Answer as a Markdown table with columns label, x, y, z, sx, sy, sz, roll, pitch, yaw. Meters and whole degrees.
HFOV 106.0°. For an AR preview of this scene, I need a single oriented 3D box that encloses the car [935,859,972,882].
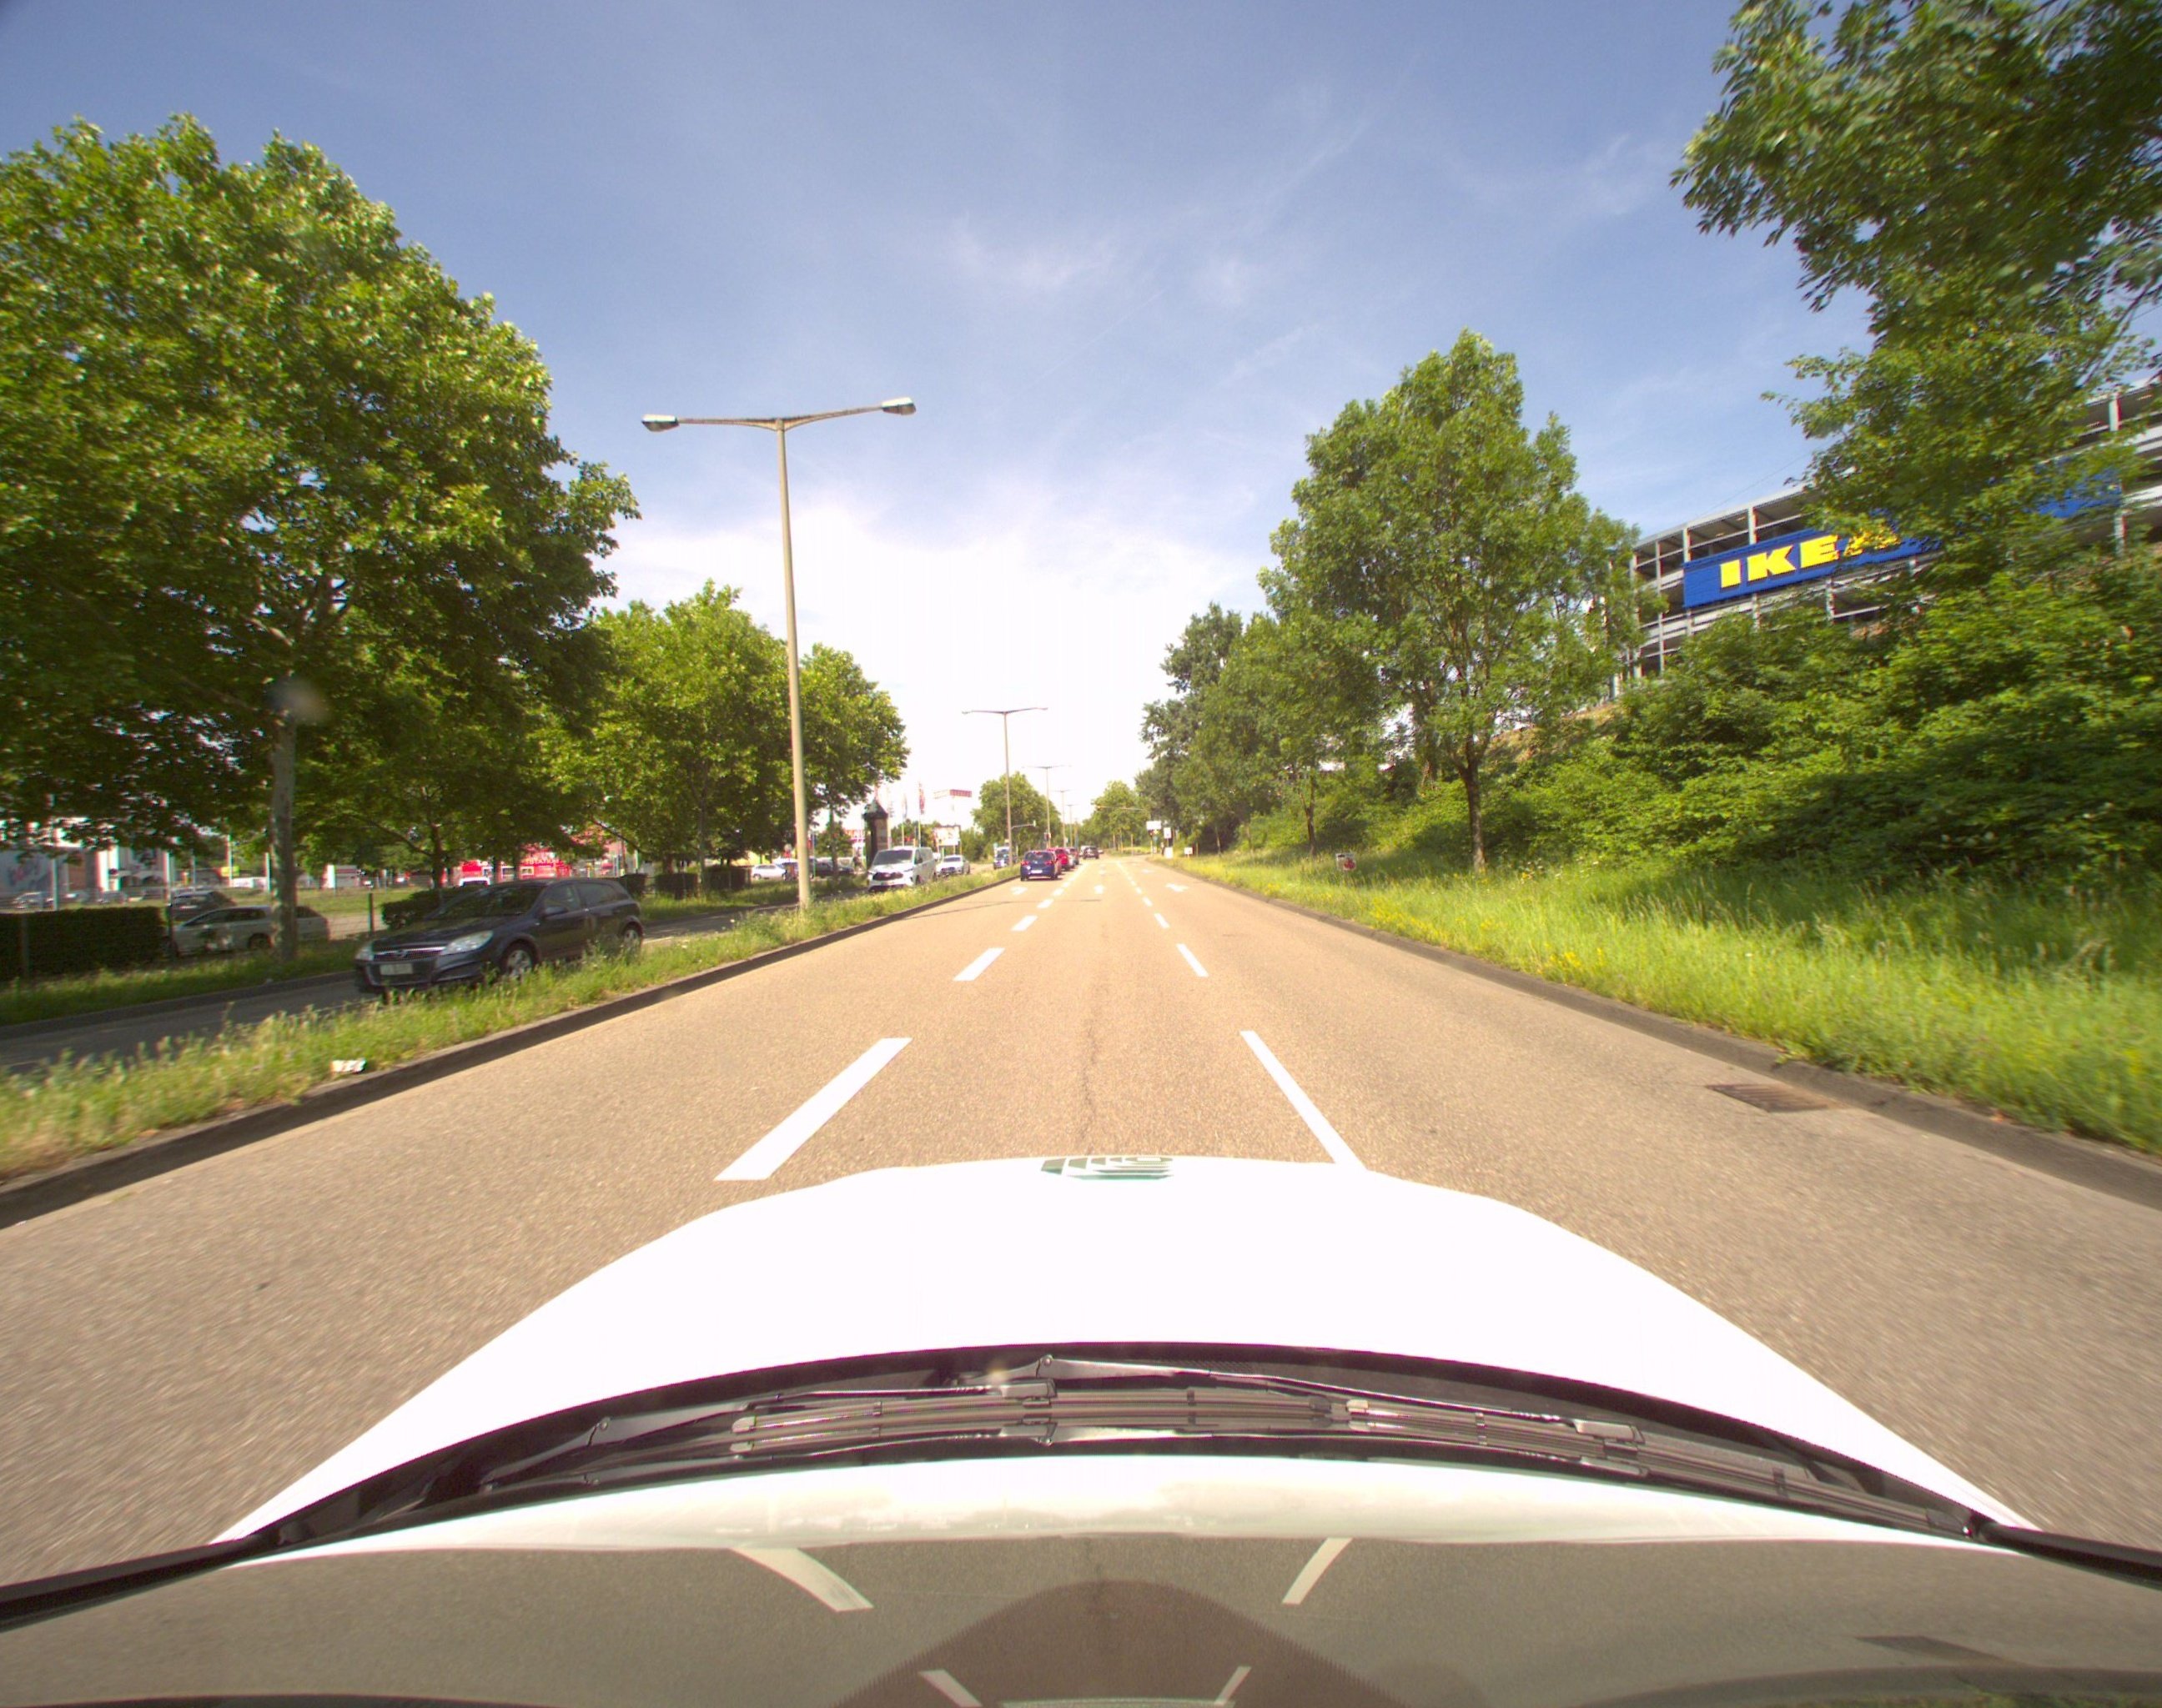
| label | x | y | z | sx | sy | sz | roll | pitch | yaw |
| --- | --- | --- | --- | --- | --- | --- | --- | --- | --- |
| car | -9.064 | 1.145 | 58.181 | 1.780 | 1.398 | 4.360 | -4 | 0 | 2 |

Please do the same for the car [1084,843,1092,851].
| label | x | y | z | sx | sy | sz | roll | pitch | yaw |
| --- | --- | --- | --- | --- | --- | --- | --- | --- | --- |
| car | 1.868 | -1.850 | 216.593 | 1.871 | 1.775 | 3.994 | -3 | 0 | -4 |

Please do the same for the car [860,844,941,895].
| label | x | y | z | sx | sy | sz | roll | pitch | yaw |
| --- | --- | --- | --- | --- | --- | --- | --- | --- | --- |
| car | -7.626 | 0.609 | 34.943 | 2.110 | 1.883 | 5.419 | -3 | 0 | 0 |

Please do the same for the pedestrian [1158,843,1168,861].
| label | x | y | z | sx | sy | sz | roll | pitch | yaw |
| --- | --- | --- | --- | --- | --- | --- | --- | --- | --- |
| pedestrian | 8.914 | -0.239 | 88.570 | 0.835 | 1.932 | 0.771 | -2 | 2 | -2 |

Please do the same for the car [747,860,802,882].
| label | x | y | z | sx | sy | sz | roll | pitch | yaw |
| --- | --- | --- | --- | --- | --- | --- | --- | --- | --- |
| car | -26.415 | 1.478 | 70.266 | 4.121 | 1.603 | 1.729 | -3 | 0 | 13 |

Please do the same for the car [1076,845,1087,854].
| label | x | y | z | sx | sy | sz | roll | pitch | yaw |
| --- | --- | --- | --- | --- | --- | --- | --- | --- | --- |
| car | 0.108 | -0.901 | 156.609 | 1.986 | 1.708 | 4.265 | -3 | 0 | 2 |

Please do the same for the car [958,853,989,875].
| label | x | y | z | sx | sy | sz | roll | pitch | yaw |
| --- | --- | --- | --- | --- | --- | --- | --- | --- | --- |
| car | -9.224 | 0.819 | 70.070 | 1.970 | 1.693 | 4.000 | -3 | 0 | 0 |

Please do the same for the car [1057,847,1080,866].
| label | x | y | z | sx | sy | sz | roll | pitch | yaw |
| --- | --- | --- | --- | --- | --- | --- | --- | --- | --- |
| car | -1.118 | 0.191 | 75.192 | 1.875 | 1.618 | 4.213 | -2 | 0 | 1 |

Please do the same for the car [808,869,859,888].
| label | x | y | z | sx | sy | sz | roll | pitch | yaw |
| --- | --- | --- | --- | --- | --- | --- | --- | --- | --- |
| car | -20.814 | 2.069 | 68.532 | 3.949 | 1.388 | 1.776 | -2 | 1 | 28 |

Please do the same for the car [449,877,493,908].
| label | x | y | z | sx | sy | sz | roll | pitch | yaw |
| --- | --- | --- | --- | --- | --- | --- | --- | --- | --- |
| car | -37.349 | 2.314 | 49.853 | 2.010 | 1.665 | 4.789 | -3 | 0 | -38 |

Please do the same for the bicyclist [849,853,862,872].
| label | x | y | z | sx | sy | sz | roll | pitch | yaw |
| --- | --- | --- | --- | --- | --- | --- | --- | --- | --- |
| bicyclist | -21.530 | 0.807 | 77.873 | 0.904 | 1.715 | 0.774 | -4 | 3 | -35 |

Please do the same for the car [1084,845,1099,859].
| label | x | y | z | sx | sy | sz | roll | pitch | yaw |
| --- | --- | --- | --- | --- | --- | --- | --- | --- | --- |
| car | 1.312 | -0.313 | 101.408 | 1.730 | 1.535 | 4.003 | -2 | 3 | 2 |

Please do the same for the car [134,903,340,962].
| label | x | y | z | sx | sy | sz | roll | pitch | yaw |
| --- | --- | --- | --- | --- | --- | --- | --- | --- | --- |
| car | -24.769 | 2.269 | 24.015 | 3.979 | 1.414 | 1.802 | -2 | -1 | -4 |

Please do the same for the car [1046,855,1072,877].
| label | x | y | z | sx | sy | sz | roll | pitch | yaw |
| --- | --- | --- | --- | --- | --- | --- | --- | --- | --- |
| car | -1.619 | 0.877 | 61.304 | 1.760 | 1.479 | 4.136 | -1 | 0 | 1 |

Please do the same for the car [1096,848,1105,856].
| label | x | y | z | sx | sy | sz | roll | pitch | yaw |
| --- | --- | --- | --- | --- | --- | --- | --- | --- | --- |
| car | 4.494 | -0.523 | 184.504 | 1.867 | 1.775 | 4.003 | -3 | 0 | 3 |

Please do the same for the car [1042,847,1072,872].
| label | x | y | z | sx | sy | sz | roll | pitch | yaw |
| --- | --- | --- | --- | --- | --- | --- | --- | --- | --- |
| car | -1.624 | 0.351 | 55.742 | 1.776 | 1.593 | 4.594 | -2 | 0 | 1 |

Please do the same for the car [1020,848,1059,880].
| label | x | y | z | sx | sy | sz | roll | pitch | yaw |
| --- | --- | --- | --- | --- | --- | --- | --- | --- | --- |
| car | -2.041 | 0.477 | 40.900 | 1.620 | 1.483 | 4.049 | -1 | 0 | 1 |

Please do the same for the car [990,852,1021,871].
| label | x | y | z | sx | sy | sz | roll | pitch | yaw |
| --- | --- | --- | --- | --- | --- | --- | --- | --- | --- |
| car | -6.478 | 0.623 | 70.176 | 1.986 | 1.530 | 4.684 | -3 | 0 | 2 |

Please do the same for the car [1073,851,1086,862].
| label | x | y | z | sx | sy | sz | roll | pitch | yaw |
| --- | --- | --- | --- | --- | --- | --- | --- | --- | --- |
| car | -0.296 | 0.381 | 137.292 | 1.986 | 1.744 | 4.267 | -3 | 0 | 2 |

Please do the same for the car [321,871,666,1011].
| label | x | y | z | sx | sy | sz | roll | pitch | yaw |
| --- | --- | --- | --- | --- | --- | --- | --- | --- | --- |
| car | -8.102 | 1.083 | 11.857 | 1.762 | 1.469 | 4.285 | -3 | 0 | 2 |

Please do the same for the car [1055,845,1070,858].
| label | x | y | z | sx | sy | sz | roll | pitch | yaw |
| --- | --- | --- | --- | --- | --- | --- | --- | --- | --- |
| car | -2.830 | -0.359 | 125.946 | 1.985 | 1.859 | 4.003 | -3 | 0 | 3 |

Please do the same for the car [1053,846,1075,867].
| label | x | y | z | sx | sy | sz | roll | pitch | yaw |
| --- | --- | --- | --- | --- | --- | --- | --- | --- | --- |
| car | -1.368 | 0.233 | 68.533 | 1.623 | 1.595 | 3.918 | -3 | -1 | 1 |

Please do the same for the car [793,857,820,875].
| label | x | y | z | sx | sy | sz | roll | pitch | yaw |
| --- | --- | --- | --- | --- | --- | --- | --- | --- | --- |
| car | -40.743 | 1.837 | 120.743 | 2.011 | 2.532 | 4.583 | -3 | 0 | -42 |

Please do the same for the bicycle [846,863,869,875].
| label | x | y | z | sx | sy | sz | roll | pitch | yaw |
| --- | --- | --- | --- | --- | --- | --- | --- | --- | --- |
| bicycle | -21.407 | 1.408 | 77.965 | 1.962 | 0.983 | 0.781 | -4 | 3 | -35 |

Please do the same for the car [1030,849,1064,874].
| label | x | y | z | sx | sy | sz | roll | pitch | yaw |
| --- | --- | --- | --- | --- | --- | --- | --- | --- | --- |
| car | -1.978 | 0.441 | 48.603 | 1.696 | 1.390 | 4.473 | -1 | 0 | 1 |
